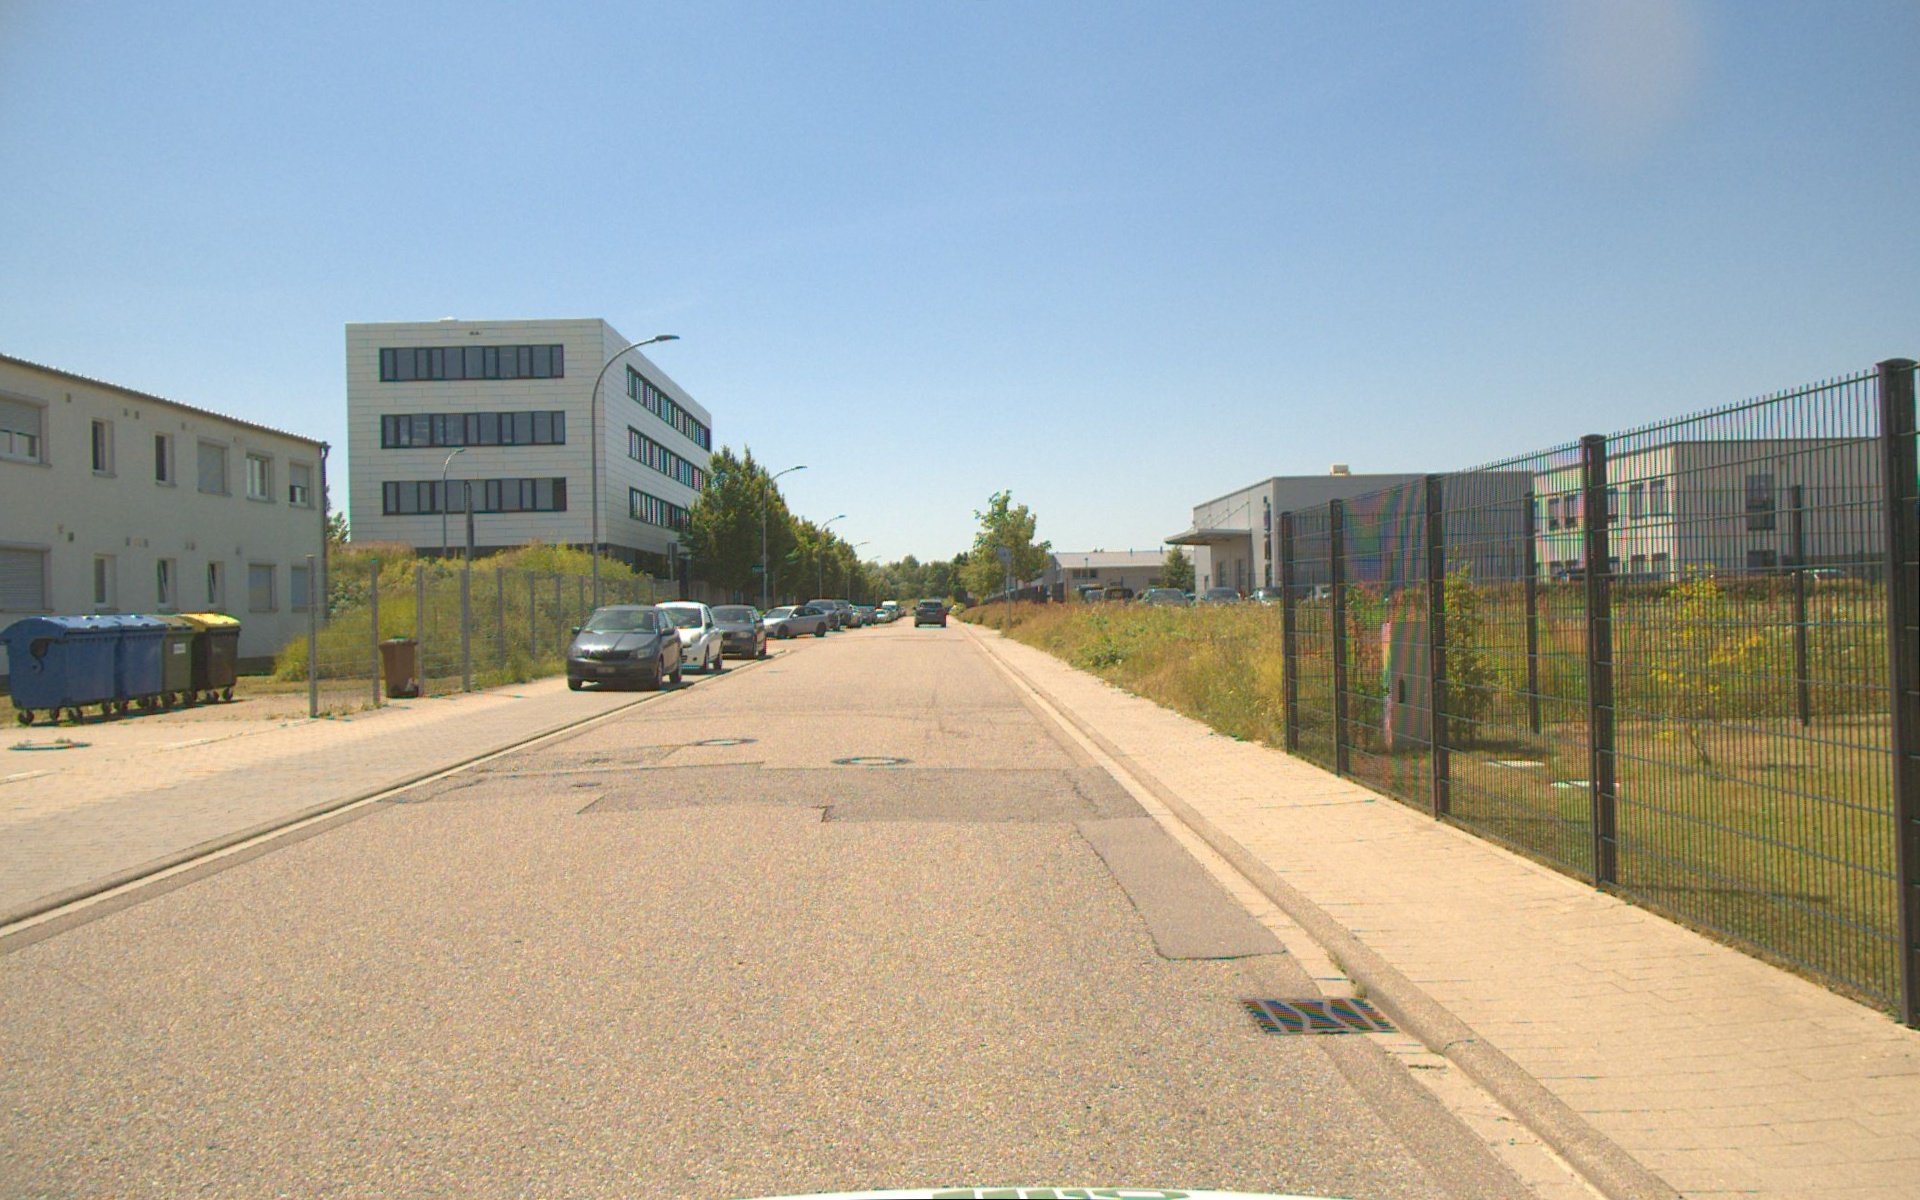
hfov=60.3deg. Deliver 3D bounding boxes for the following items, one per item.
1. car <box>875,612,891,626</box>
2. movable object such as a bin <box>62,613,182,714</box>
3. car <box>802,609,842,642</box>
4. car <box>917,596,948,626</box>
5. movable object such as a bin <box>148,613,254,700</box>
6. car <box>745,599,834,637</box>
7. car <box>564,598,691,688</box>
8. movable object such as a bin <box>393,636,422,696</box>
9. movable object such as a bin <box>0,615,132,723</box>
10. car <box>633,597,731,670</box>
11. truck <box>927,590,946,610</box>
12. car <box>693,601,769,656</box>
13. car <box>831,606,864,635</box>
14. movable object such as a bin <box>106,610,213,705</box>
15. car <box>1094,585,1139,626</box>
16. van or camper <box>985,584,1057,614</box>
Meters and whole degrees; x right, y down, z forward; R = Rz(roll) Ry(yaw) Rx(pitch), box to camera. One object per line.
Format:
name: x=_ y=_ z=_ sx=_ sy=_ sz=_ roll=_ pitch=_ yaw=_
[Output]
car: x=-8.491 y=2.075 z=182.710 sx=1.686 sy=1.502 sz=3.854 roll=0 pitch=-1 yaw=-3
movable object such as a bin: x=-12.687 y=0.946 z=25.087 sx=1.101 sy=1.473 sz=1.371 roll=-1 pitch=-1 yaw=2
car: x=-7.154 y=1.319 z=86.026 sx=1.735 sy=1.615 sz=4.480 roll=-1 pitch=-1 yaw=-1
car: x=-1.583 y=0.657 z=95.674 sx=1.753 sy=1.652 sz=3.808 roll=1 pitch=-1 yaw=-1
movable object such as a bin: x=-12.805 y=0.940 z=27.958 sx=1.119 sy=1.430 sz=1.388 roll=-1 pitch=-1 yaw=1
car: x=-7.528 y=0.766 z=73.316 sx=1.740 sy=1.615 sz=4.063 roll=-2 pitch=-1 yaw=34
car: x=-6.096 y=0.763 z=30.721 sx=1.640 sy=1.557 sz=3.908 roll=0 pitch=-1 yaw=-1
movable object such as a bin: x=-9.078 y=1.081 z=27.186 sx=0.298 sy=0.956 sz=0.497 roll=-1 pitch=-1 yaw=1
movable object such as a bin: x=-12.729 y=0.958 z=23.552 sx=1.119 sy=1.473 sz=1.434 roll=-1 pitch=-1 yaw=2
car: x=-6.216 y=0.729 z=37.255 sx=1.640 sy=1.557 sz=3.756 roll=0 pitch=-1 yaw=-1
truck: x=-3.692 y=-0.005 z=256.428 sx=2.873 sy=3.026 sz=6.417 roll=1 pitch=-1 yaw=-1
car: x=-6.322 y=0.781 z=45.983 sx=1.640 sy=1.476 sz=4.068 roll=0 pitch=-1 yaw=-1
car: x=-6.619 y=1.210 z=97.973 sx=1.735 sy=1.652 sz=4.581 roll=0 pitch=-1 yaw=-1
movable object such as a bin: x=-12.817 y=0.902 z=26.525 sx=1.065 sy=1.473 sz=1.388 roll=-1 pitch=-1 yaw=-2
car: x=6.292 y=0.231 z=66.692 sx=1.437 sy=1.601 sz=2.661 roll=-2 pitch=-1 yaw=-1
van or camper: x=5.782 y=-0.083 z=156.833 sx=6.621 sy=2.630 sz=2.634 roll=-2 pitch=-1 yaw=-2
